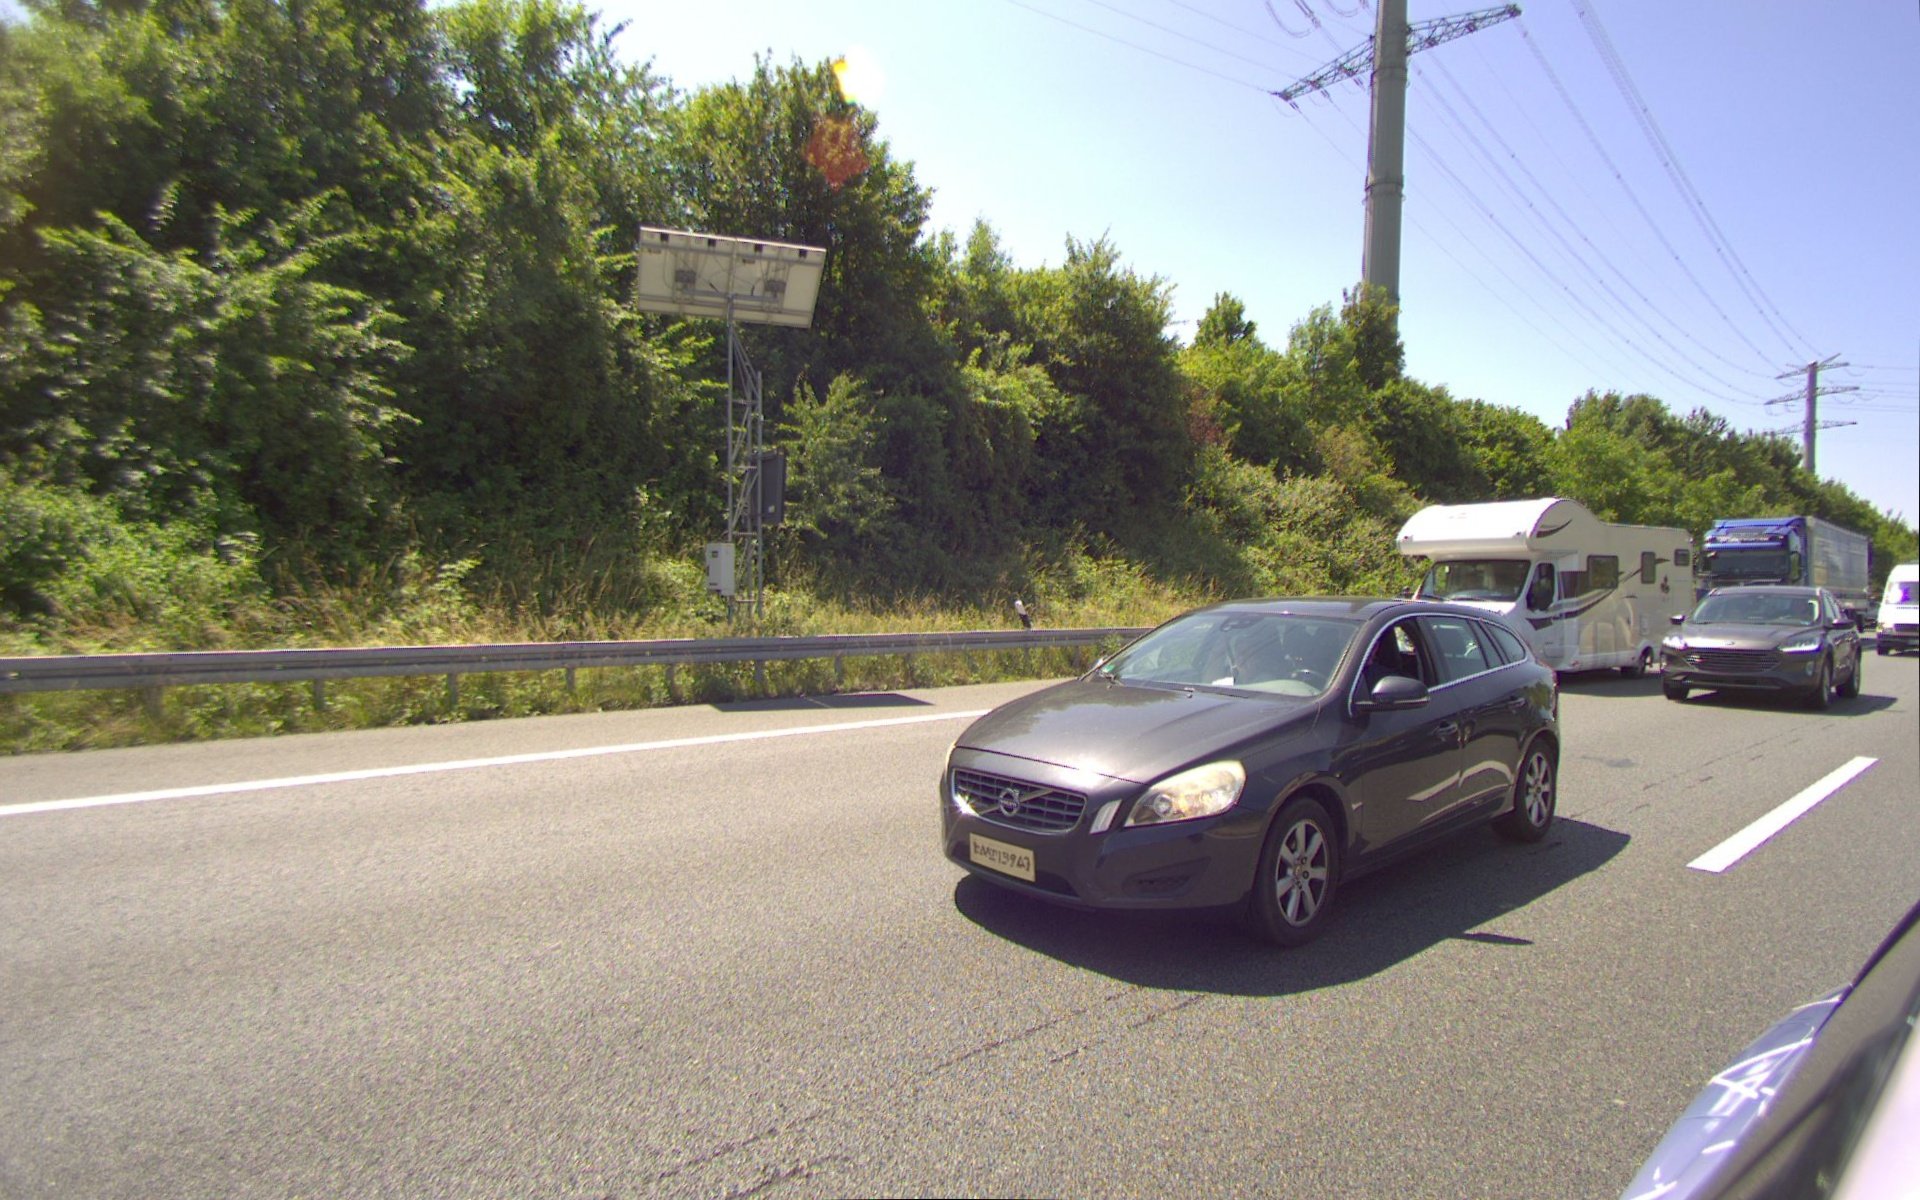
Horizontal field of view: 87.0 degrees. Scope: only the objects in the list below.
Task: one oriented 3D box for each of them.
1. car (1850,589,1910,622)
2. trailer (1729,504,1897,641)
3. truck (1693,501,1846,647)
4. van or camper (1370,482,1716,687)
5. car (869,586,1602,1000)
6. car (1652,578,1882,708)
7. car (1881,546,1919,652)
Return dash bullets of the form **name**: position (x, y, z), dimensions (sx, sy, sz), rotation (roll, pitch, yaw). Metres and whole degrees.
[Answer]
- **car**: position (45.428, 0.243, 49.945), dimensions (3.805, 1.538, 1.719), rotation (-1, 0, -40)
- **trailer**: position (31.549, -0.923, 37.132), dimensions (12.653, 4.317, 2.772), rotation (-1, 0, -41)
- **truck**: position (25.717, -0.780, 32.089), dimensions (5.538, 4.197, 2.790), rotation (-1, 0, -41)
- **van or camper**: position (10.710, -0.272, 18.254), dimensions (7.486, 3.082, 2.377), rotation (-1, 0, -34)
- **car**: position (1.814, 0.648, 5.656), dimensions (4.431, 1.437, 1.798), rotation (-1, 0, -41)
- **car**: position (11.855, 0.517, 14.776), dimensions (4.146, 1.631, 1.892), rotation (-1, 0, -41)
- **car**: position (27.479, -0.061, 28.095), dimensions (6.588, 2.753, 2.041), rotation (-1, 0, -41)
